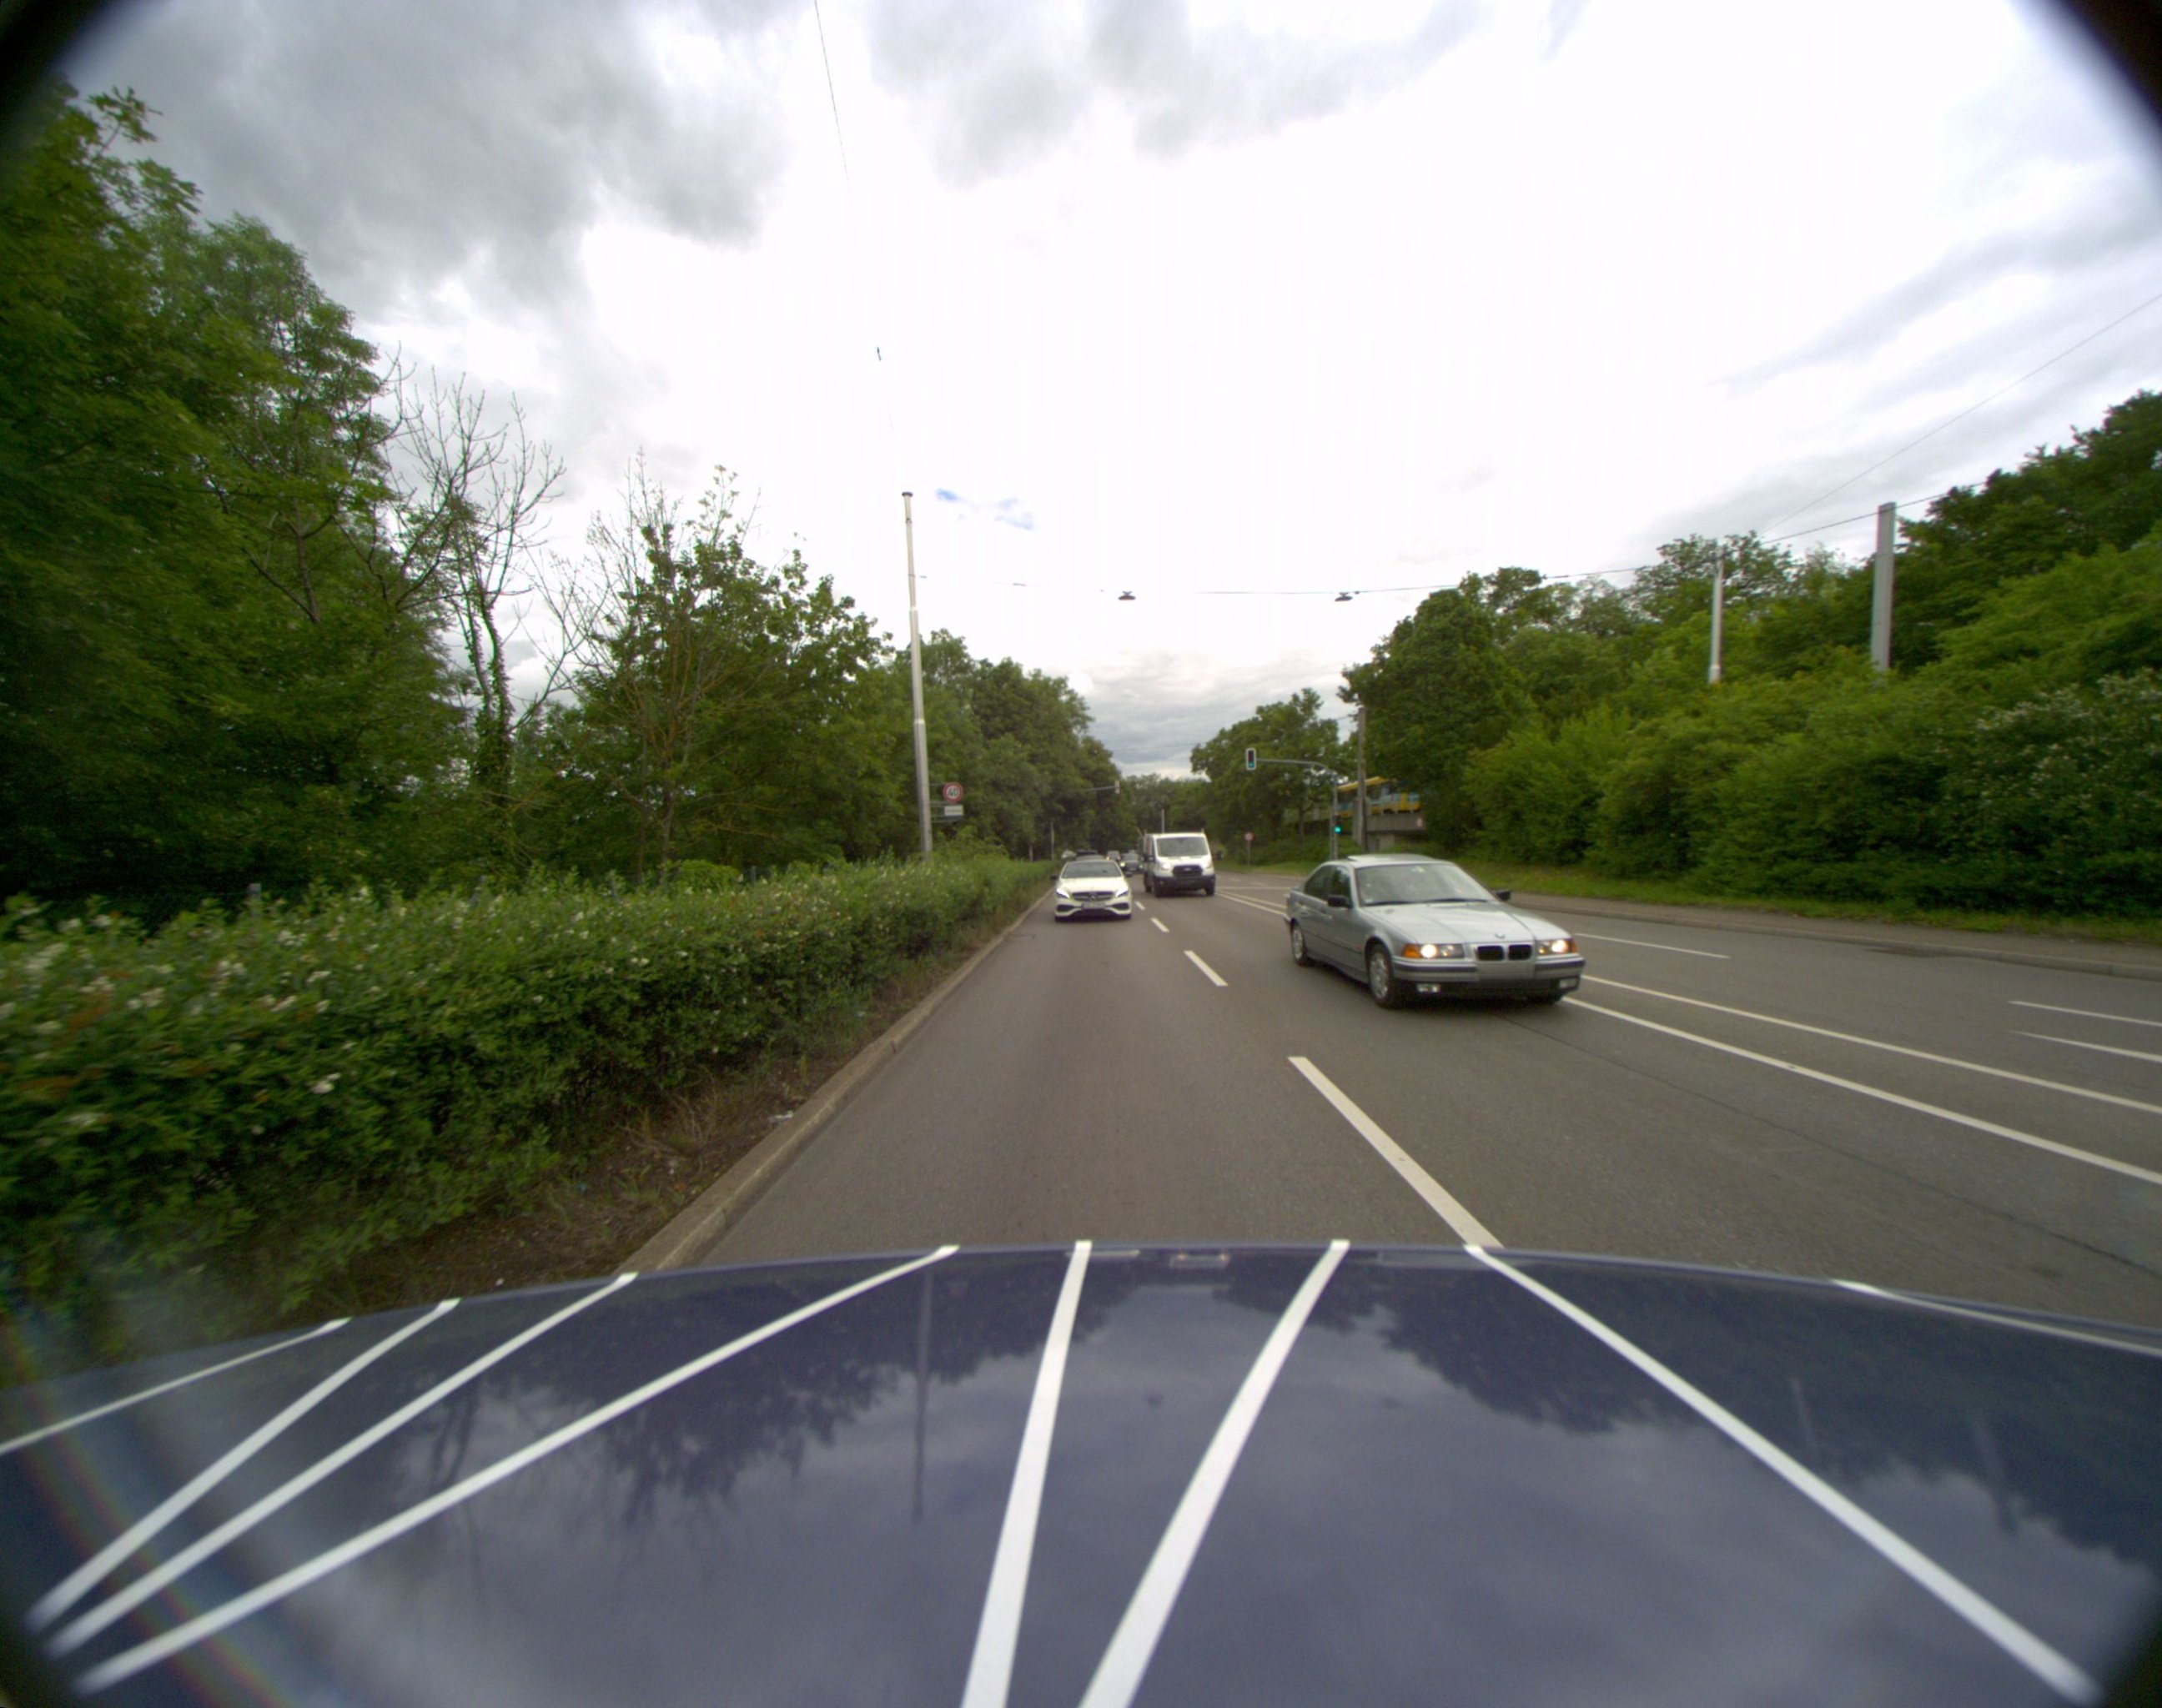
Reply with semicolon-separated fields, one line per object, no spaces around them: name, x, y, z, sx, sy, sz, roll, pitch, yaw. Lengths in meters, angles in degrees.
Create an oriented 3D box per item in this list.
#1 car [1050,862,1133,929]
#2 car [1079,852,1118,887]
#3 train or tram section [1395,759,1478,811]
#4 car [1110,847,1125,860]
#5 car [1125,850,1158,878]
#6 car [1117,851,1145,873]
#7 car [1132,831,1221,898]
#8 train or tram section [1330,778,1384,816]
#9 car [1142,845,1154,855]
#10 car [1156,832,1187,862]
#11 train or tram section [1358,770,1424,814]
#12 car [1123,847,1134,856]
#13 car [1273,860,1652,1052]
car;0.240;0.943;18.884;1.807;1.385;4.283;-1;0;0
car;0.787;0.701;36.431;1.678;1.532;4.614;-1;0;-1
train or tram section;24.979;-4.750;53.845;2.062;3.026;8.150;-3;2;1
car;4.672;-0.085;97.792;1.677;1.532;4.615;-1;0;1
car;3.503;0.527;44.849;1.677;1.532;4.553;-1;0;1
car;3.690;0.556;56.363;1.678;1.532;4.614;-1;0;-1
car;3.305;0.315;27.773;2.253;2.113;6.668;-2;0;-1
train or tram section;25.308;-5.198;70.175;2.062;3.026;8.150;-3;2;1
car;13.599;-0.858;153.890;1.761;1.863;4.619;-1;0;11
car;9.813;-0.768;82.880;2.276;3.038;7.234;-2;1;-1
train or tram section;25.137;-4.952;62.006;2.062;3.026;8.150;-3;2;1
car;8.548;-0.397;136.615;1.677;1.532;4.616;-1;0;5
car;3.506;0.799;8.122;1.757;1.385;4.614;-1;0;0
